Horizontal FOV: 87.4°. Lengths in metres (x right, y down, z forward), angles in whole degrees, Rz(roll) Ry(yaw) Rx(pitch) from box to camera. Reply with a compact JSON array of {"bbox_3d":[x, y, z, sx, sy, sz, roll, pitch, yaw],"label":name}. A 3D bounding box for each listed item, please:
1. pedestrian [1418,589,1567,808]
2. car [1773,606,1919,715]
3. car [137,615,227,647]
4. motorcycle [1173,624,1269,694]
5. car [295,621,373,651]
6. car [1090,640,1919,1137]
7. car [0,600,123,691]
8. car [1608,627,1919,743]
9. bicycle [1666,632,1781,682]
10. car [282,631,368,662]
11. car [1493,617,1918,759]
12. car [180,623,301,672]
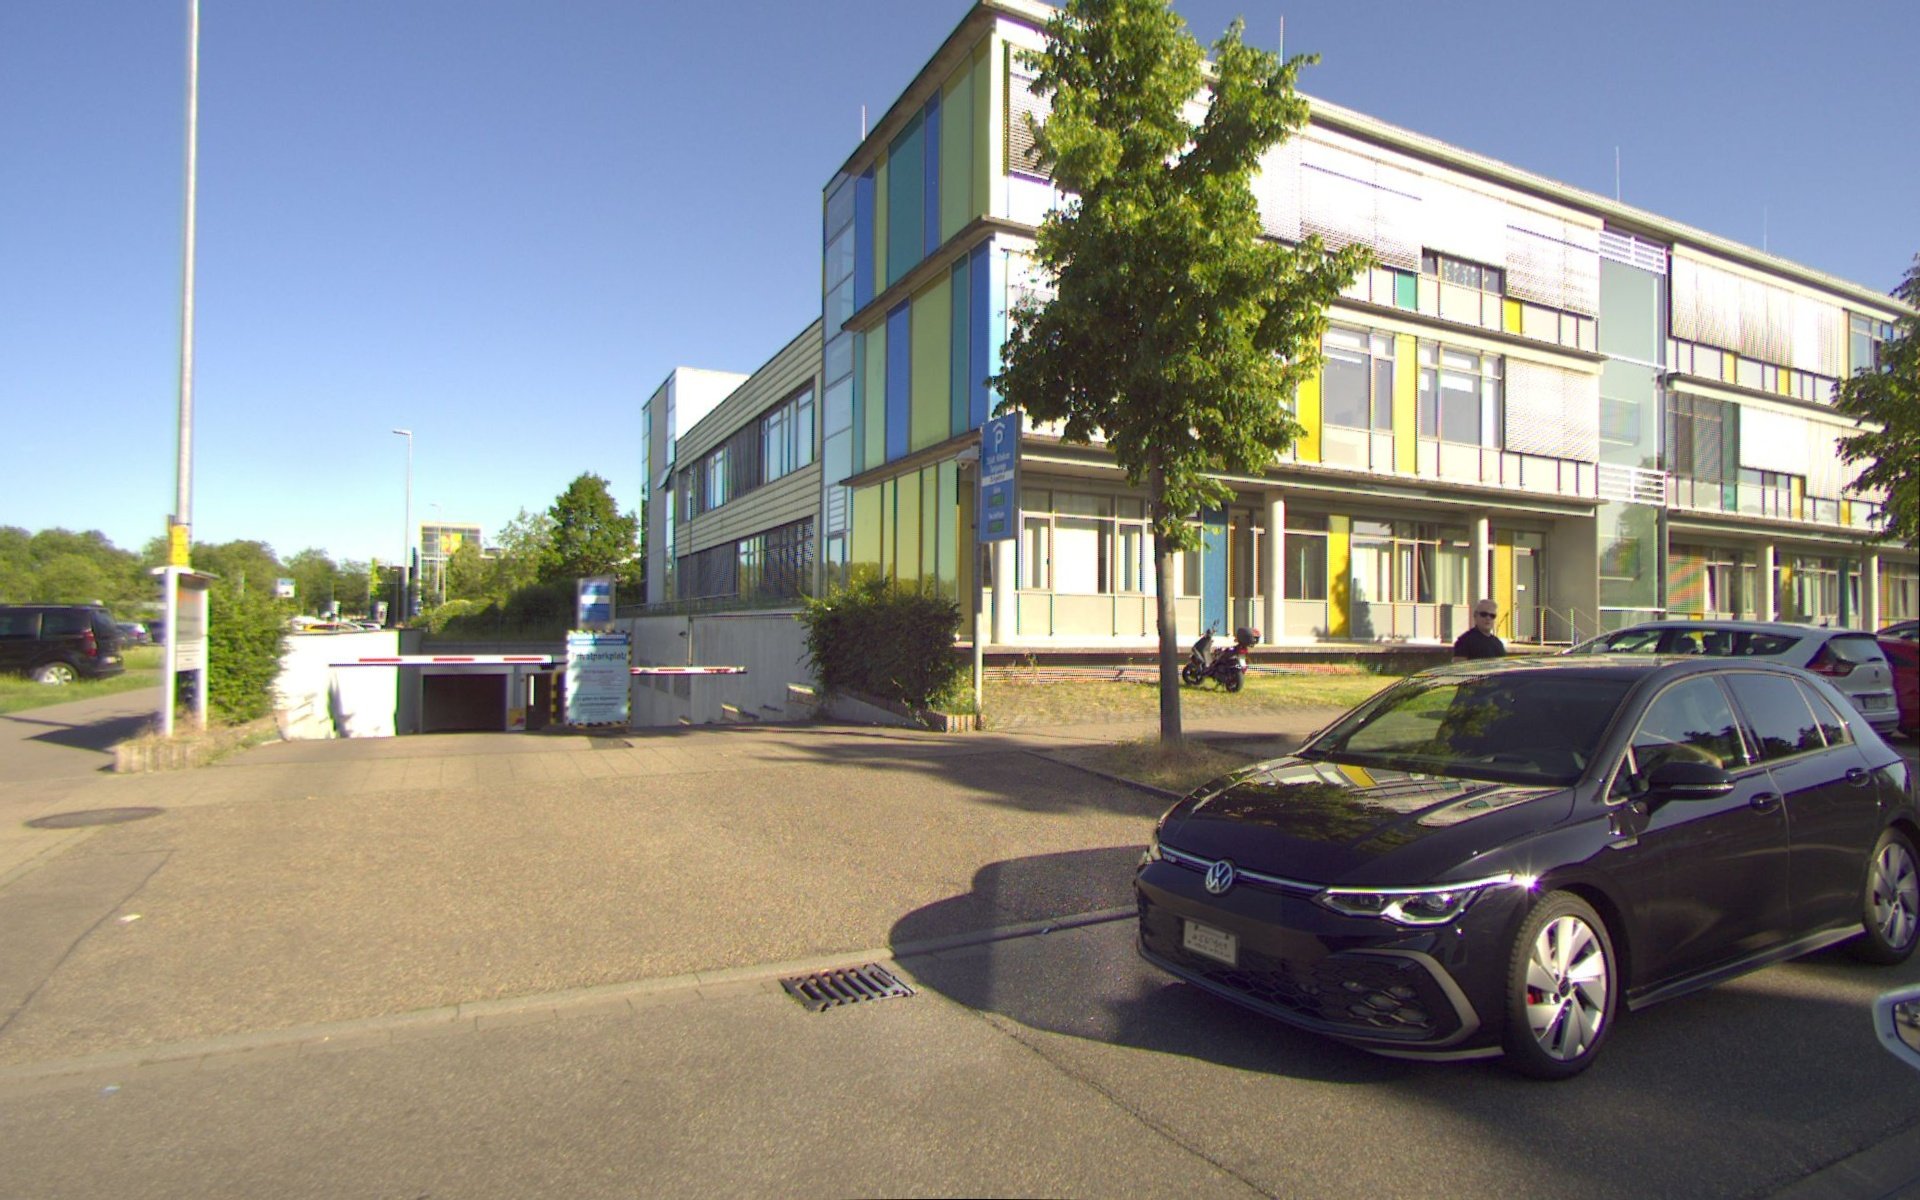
[{"bbox_3d":[4.823,0.841,9.124,0.814,1.867,0.855,1,0,-25],"label":"pedestrian"},{"bbox_3d":[17.654,1.076,17.820,1.803,1.890,4.727,1,0,-26],"label":"car"},{"bbox_3d":[-51.199,2.035,66.212,4.336,2.040,1.987,1,-1,-27],"label":"car"},{"bbox_3d":[4.918,1.090,19.073,0.493,1.165,2.034,0,1,-28],"label":"motorcycle"},{"bbox_3d":[-43.575,2.523,70.056,4.332,2.040,1.988,1,-1,-24],"label":"car"},{"bbox_3d":[2.761,0.936,4.721,4.034,1.470,1.697,1,-3,-28],"label":"car"},{"bbox_3d":[-20.095,0.929,20.703,4.042,1.813,1.503,1,-1,-21],"label":"car"},{"bbox_3d":[12.670,1.186,15.322,1.803,1.520,4.420,1,-2,-26],"label":"car"},{"bbox_3d":[19.269,1.442,25.372,2.328,1.169,0.871,2,0,-6],"label":"bicycle"},{"bbox_3d":[-40.602,2.951,64.344,4.329,1.965,1.990,1,-1,-22],"label":"car"},{"bbox_3d":[10.264,1.105,14.330,1.841,1.673,4.602,1,-2,-23],"label":"car"},{"bbox_3d":[-31.066,2.041,43.518,3.948,2.040,1.987,1,-2,-27],"label":"car"}]
